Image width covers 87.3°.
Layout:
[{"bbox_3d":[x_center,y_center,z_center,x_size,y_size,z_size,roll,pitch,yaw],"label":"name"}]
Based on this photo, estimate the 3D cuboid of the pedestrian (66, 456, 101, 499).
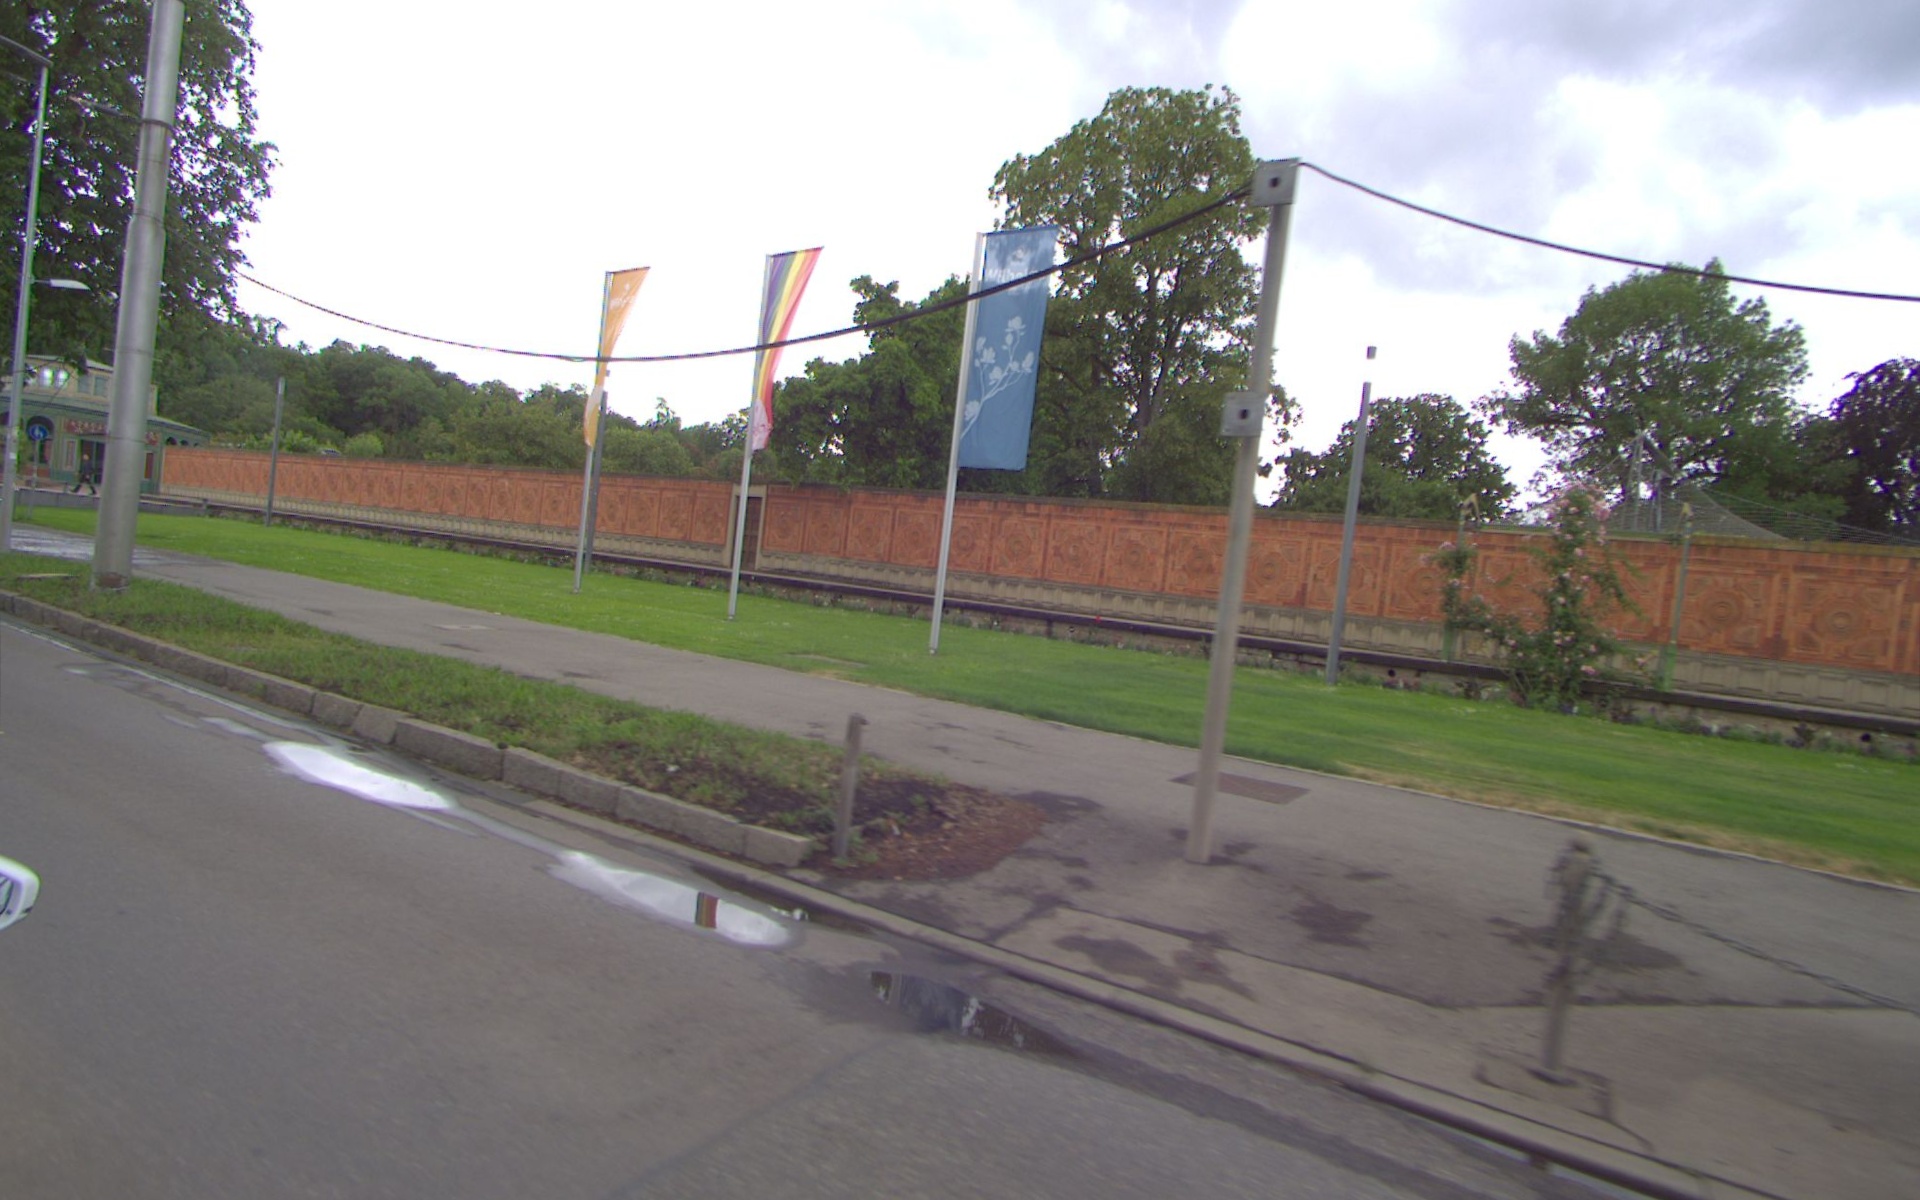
[{"bbox_3d":[-41.857,-5.845,48.029,0.939,1.859,0.547,8,0,-22],"label":"pedestrian"}]
